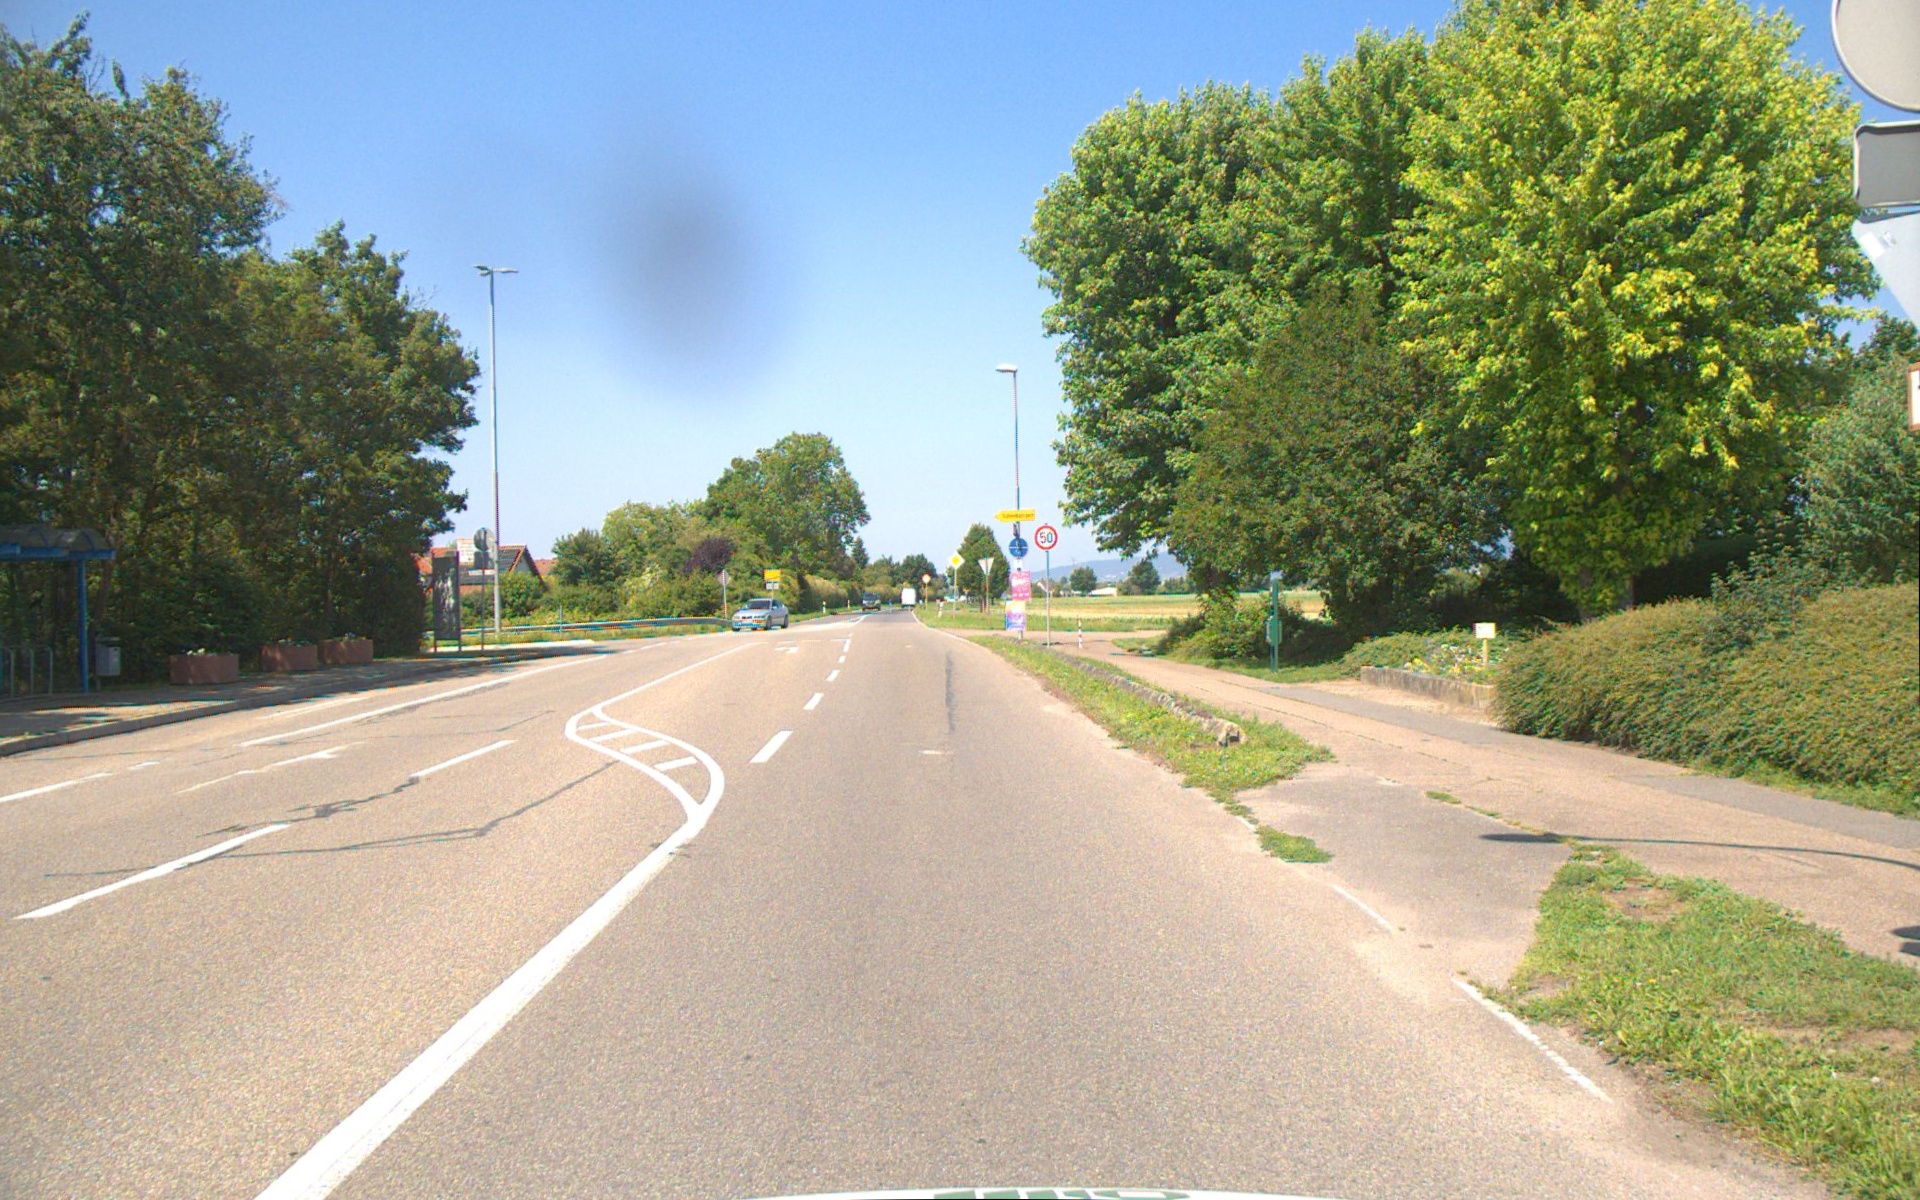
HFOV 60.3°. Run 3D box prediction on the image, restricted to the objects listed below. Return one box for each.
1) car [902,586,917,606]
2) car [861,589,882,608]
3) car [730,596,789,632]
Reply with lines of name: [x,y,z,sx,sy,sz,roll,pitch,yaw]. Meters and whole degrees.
car: [-6.977,-0.541,229.504,1.953,2.697,4.000,-2,0,0]
car: [-9.797,-0.166,183.775,2.101,1.985,5.246,-2,0,-1]
car: [-9.140,0.601,75.725,1.601,1.496,4.419,-2,0,7]
